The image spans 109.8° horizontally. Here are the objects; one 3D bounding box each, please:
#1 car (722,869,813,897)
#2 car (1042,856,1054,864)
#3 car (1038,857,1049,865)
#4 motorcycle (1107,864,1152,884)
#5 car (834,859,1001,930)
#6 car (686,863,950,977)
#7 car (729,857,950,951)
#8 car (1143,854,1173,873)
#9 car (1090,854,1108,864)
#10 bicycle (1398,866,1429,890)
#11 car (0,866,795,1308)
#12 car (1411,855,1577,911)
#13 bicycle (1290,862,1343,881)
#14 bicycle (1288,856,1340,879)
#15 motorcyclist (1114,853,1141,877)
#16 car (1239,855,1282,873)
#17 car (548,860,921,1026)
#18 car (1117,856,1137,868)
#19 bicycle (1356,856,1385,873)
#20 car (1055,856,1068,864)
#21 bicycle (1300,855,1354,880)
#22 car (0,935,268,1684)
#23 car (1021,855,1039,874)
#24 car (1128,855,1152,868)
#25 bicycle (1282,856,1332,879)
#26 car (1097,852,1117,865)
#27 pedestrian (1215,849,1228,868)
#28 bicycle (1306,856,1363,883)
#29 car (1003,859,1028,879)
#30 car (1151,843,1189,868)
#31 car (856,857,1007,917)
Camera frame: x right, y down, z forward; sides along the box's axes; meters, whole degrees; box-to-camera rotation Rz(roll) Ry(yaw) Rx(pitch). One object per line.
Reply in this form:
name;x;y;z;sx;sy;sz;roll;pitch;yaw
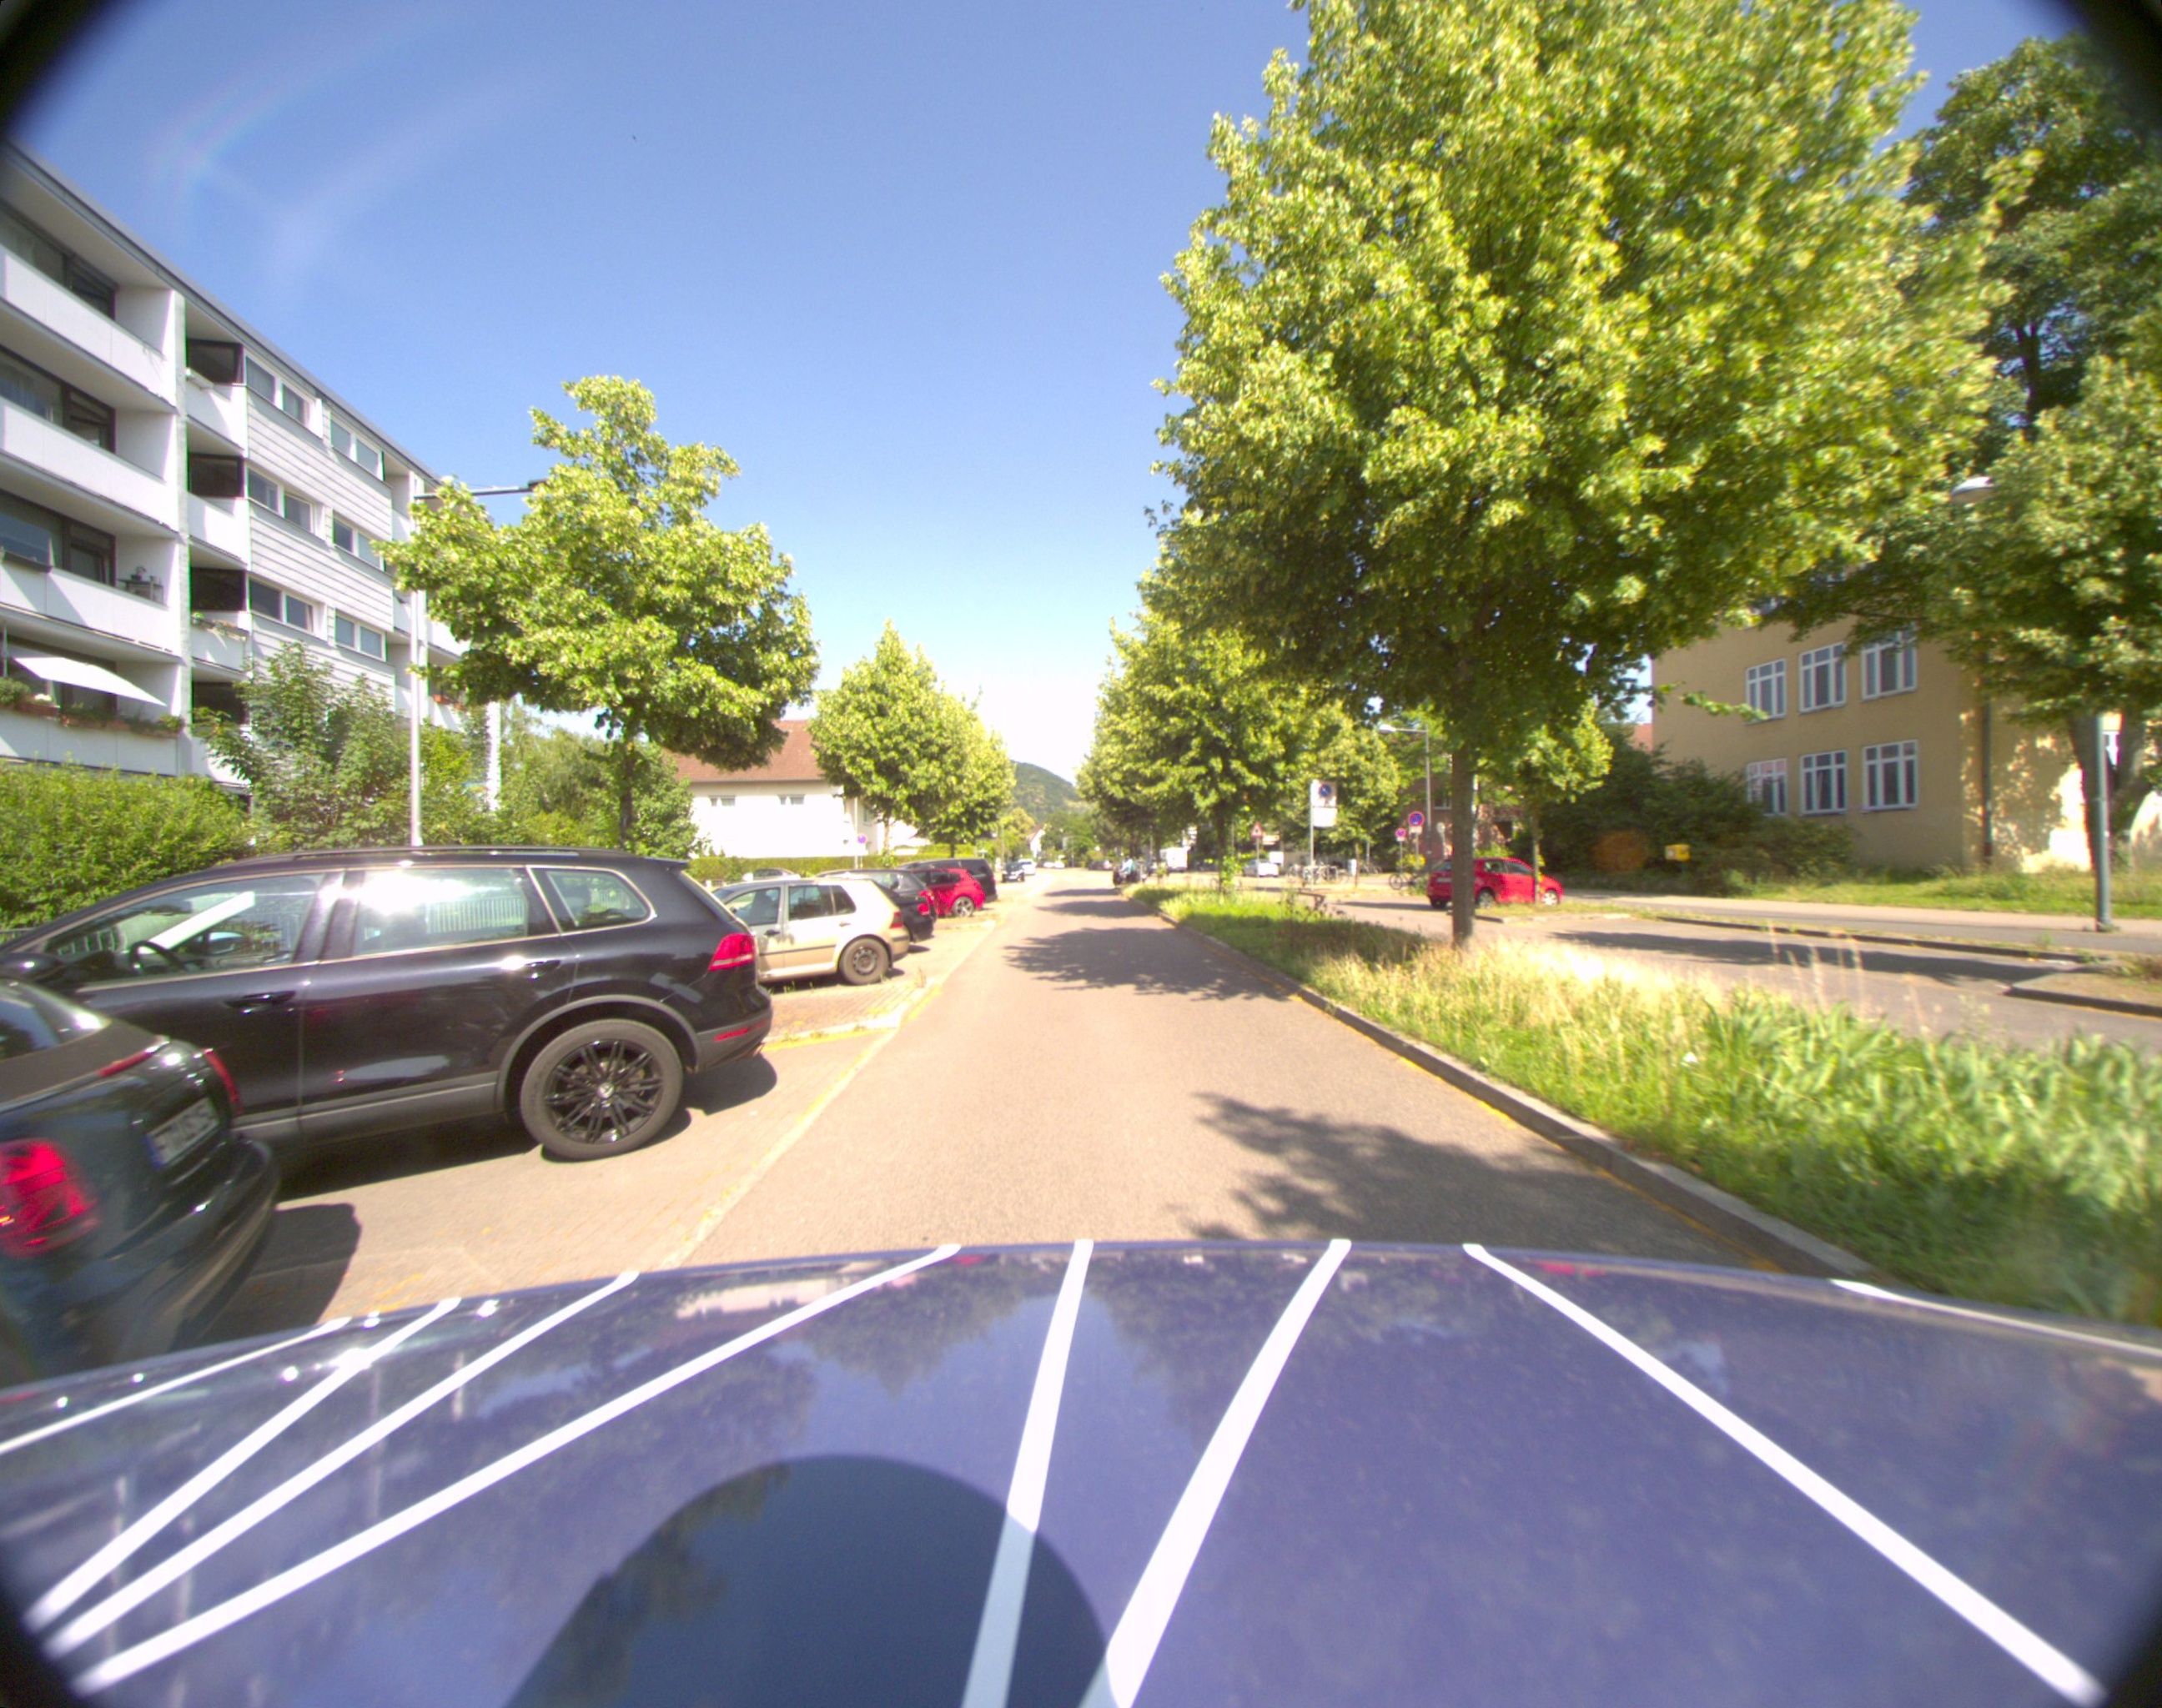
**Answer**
car;-16.683;1.551;40.566;4.126;1.389;1.811;-1;-3;-1
car;-6.800;1.275;157.695;2.000;1.608;3.996;-1;0;-10
car;-8.121;1.481;164.425;2.000;1.674;3.996;-1;0;-10
motorcycle;2.522;1.036;39.652;2.228;0.987;0.928;-1;0;42
car;-4.401;1.018;20.721;4.008;1.630;1.875;-2;1;-40
car;-4.439;1.030;13.055;4.004;1.630;1.750;-1;-1;-23
car;-4.833;0.917;15.382;4.004;1.630;1.797;-1;0;-20
car;6.419;0.752;63.611;1.747;1.538;4.070;0;0;-6
car;2.624;0.806;111.366;1.847;1.448;4.190;0;-1;-11
bicycle;13.116;0.945;30.002;0.522;0.898;1.270;0;1;-6
car;-4.199;0.949;4.007;4.754;1.650;1.749;-1;0;-32
car;11.527;0.766;21.245;4.005;1.458;1.996;0;-1;-22
bicycle;12.272;0.908;39.669;2.552;0.981;0.739;0;0;-4
bicycle;12.526;0.716;40.899;2.552;1.232;0.739;0;0;-4
motorcyclist;2.447;0.561;39.684;1.059;1.214;0.905;-1;0;42
car;13.442;0.744;57.061;1.726;1.259;3.997;0;-1;-9
car;-4.296;0.933;9.696;4.007;1.630;1.748;-1;0;-37
car;5.775;0.990;95.219;1.726;1.549;3.997;0;-1;-9
bicycle;19.065;0.700;50.037;1.711;1.074;0.378;-2;0;39
car;-3.700;1.163;145.172;1.960;1.543;3.996;-1;0;-10
bicycle;12.404;0.696;38.364;2.522;1.249;0.739;0;0;-4
car;-4.448;1.083;1.197;4.007;1.465;1.765;-1;0;-35
car;-5.478;1.074;81.463;1.767;1.816;4.596;-3;1;-4
car;6.899;0.875;89.477;1.726;1.549;4.669;0;-1;-9
bicycle;12.463;0.754;41.869;2.552;1.249;0.739;0;0;-4
car;3.618;0.592;106.108;1.847;1.754;4.581;0;-1;-11
pedestrian;13.400;0.401;72.419;0.976;1.769;0.725;-1;0;-5
bicycle;12.430;0.738;37.264;2.552;1.249;0.739;-1;0;-4
car;-4.809;1.083;56.049;1.621;1.382;3.999;-1;0;-2
car;9.151;0.207;78.460;2.096;2.481;5.946;0;-1;-13
car;-4.624;0.969;23.705;4.127;1.630;2.039;-1;0;-35
